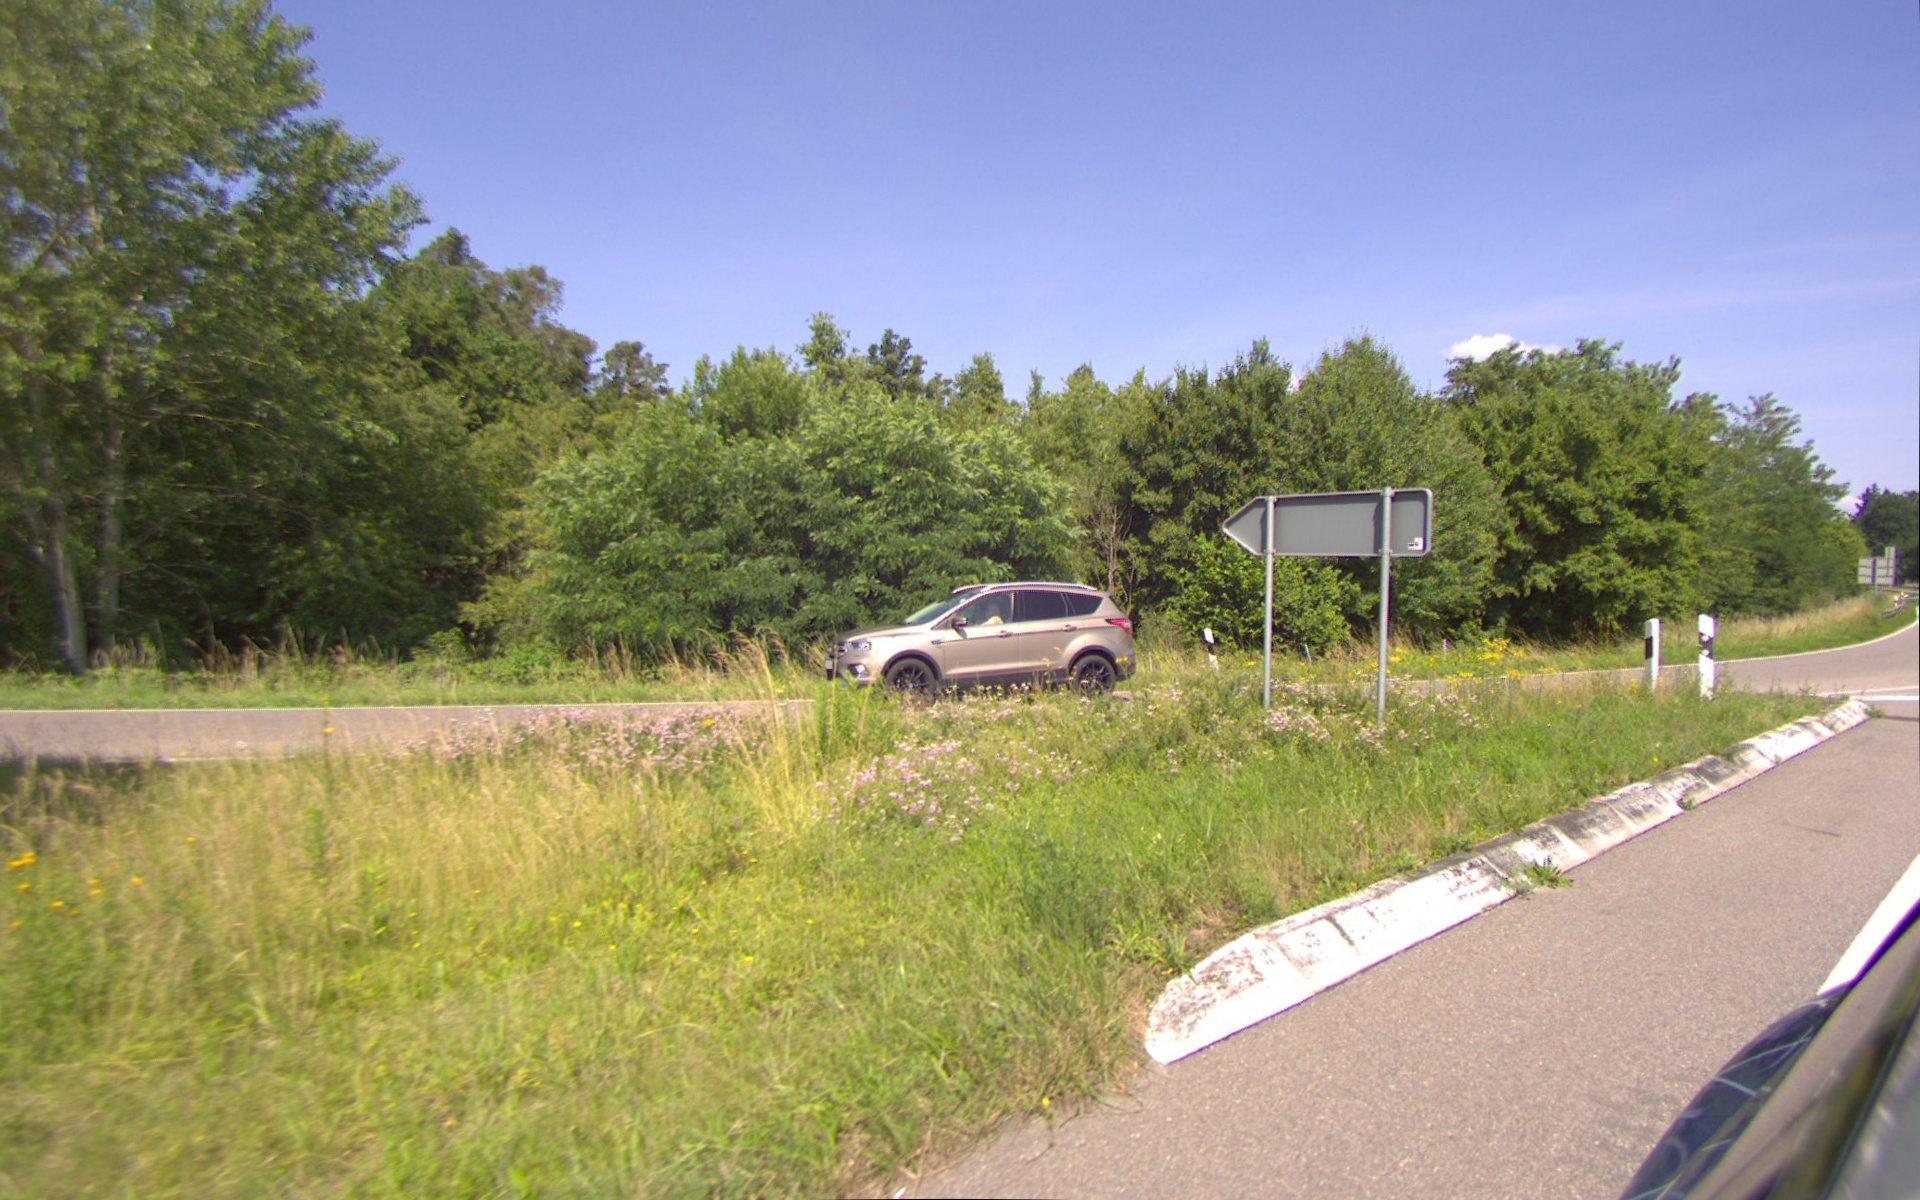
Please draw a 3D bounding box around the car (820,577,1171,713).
[{"bbox_3d":[0.482,0.567,14.368,4.568,1.687,1.904,-1,-1,-20],"label":"car"}]
